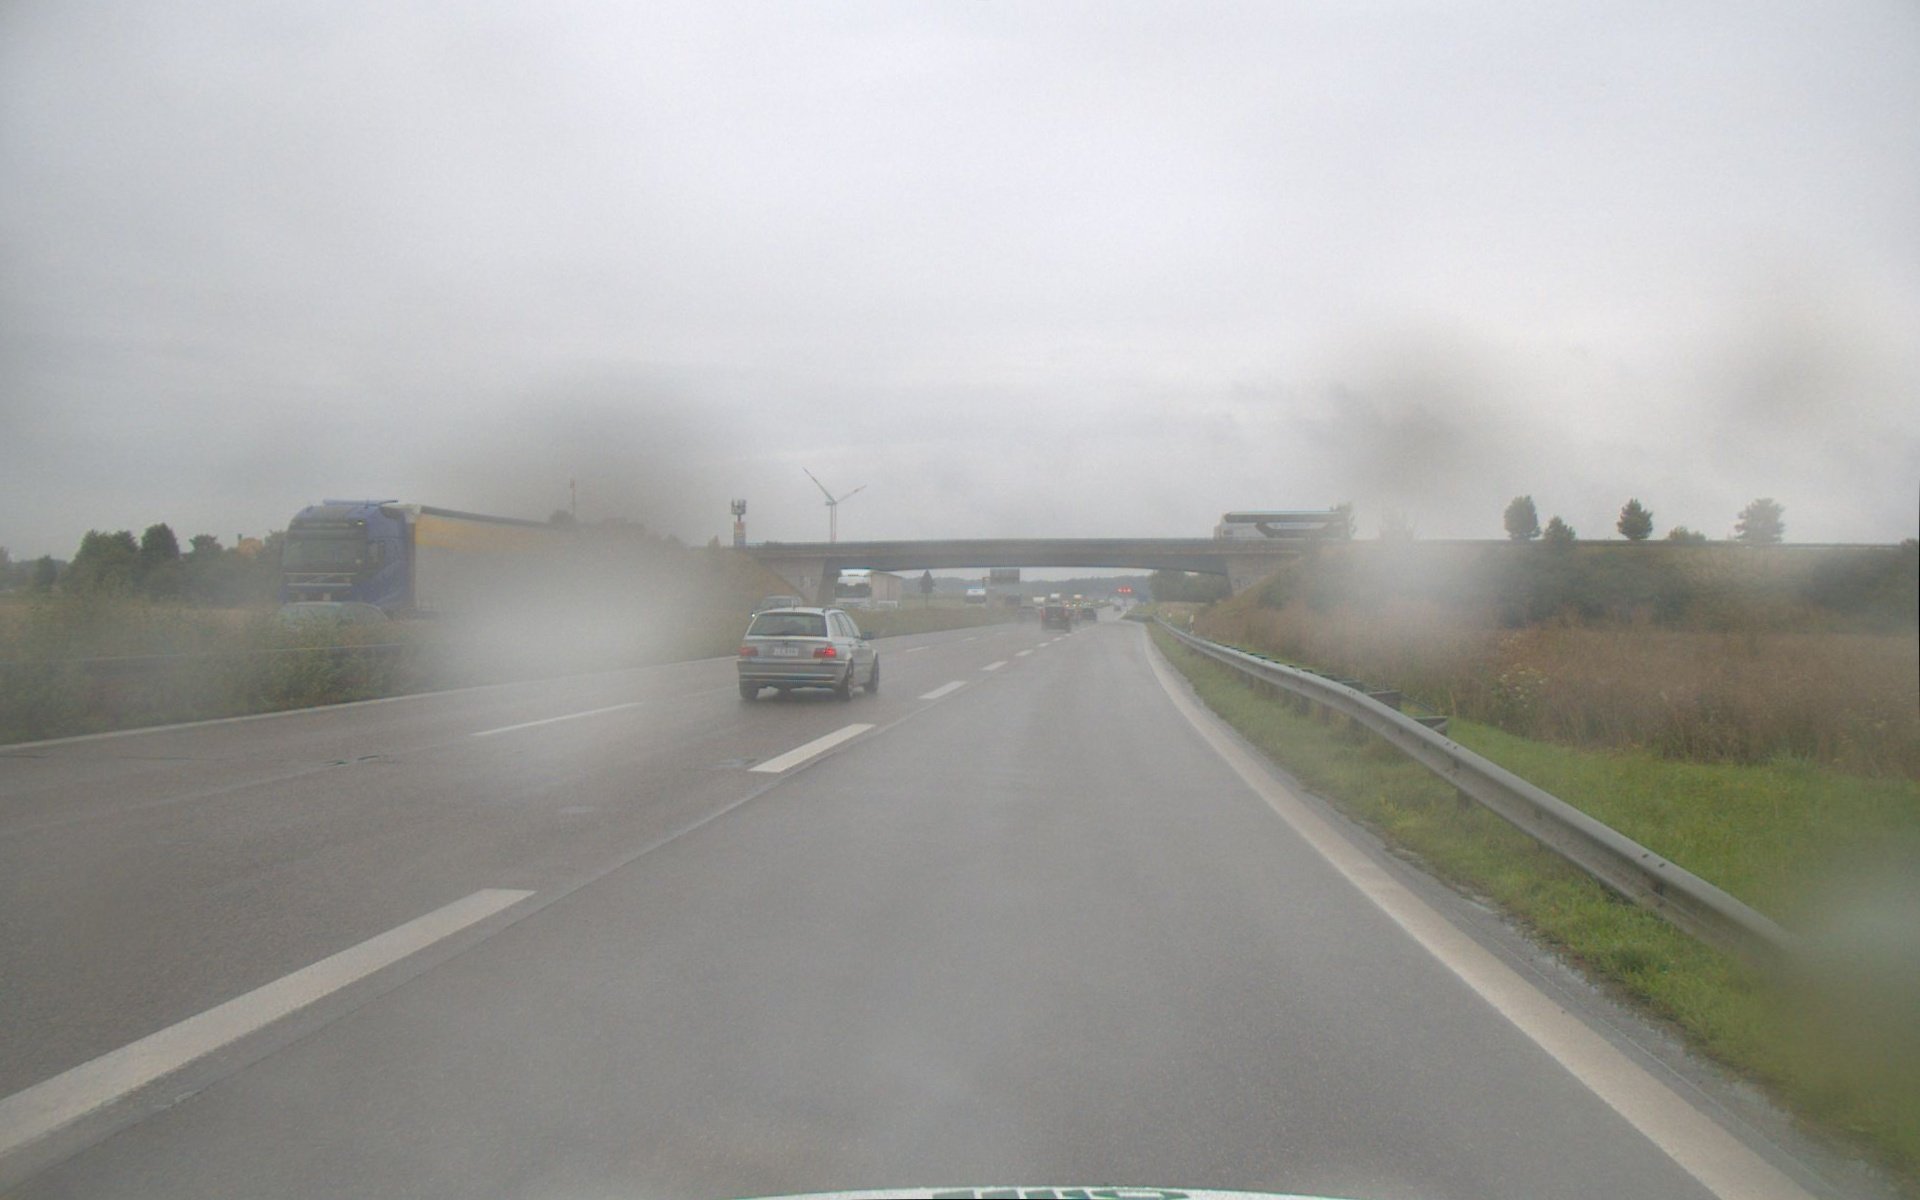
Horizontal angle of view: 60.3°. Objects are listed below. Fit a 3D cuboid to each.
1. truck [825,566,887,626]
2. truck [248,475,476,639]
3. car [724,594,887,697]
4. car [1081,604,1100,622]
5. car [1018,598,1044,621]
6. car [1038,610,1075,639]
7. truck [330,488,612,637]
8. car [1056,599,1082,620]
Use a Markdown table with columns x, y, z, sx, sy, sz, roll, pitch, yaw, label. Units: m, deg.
| x | y | z | sx | sy | sz | roll | pitch | yaw | label |
| --- | --- | --- | --- | --- | --- | --- | --- | --- | --- |
| -7.952 | -0.248 | 128.227 | 3.160 | 4.462 | 10.520 | 0 | 0 | 5 | truck |
| -16.177 | -1.076 | 45.333 | 3.127 | 4.035 | 6.667 | 3 | 0 | 6 | truck |
| -2.397 | 0.693 | 26.852 | 1.834 | 1.514 | 4.798 | 0 | -1 | 4 | car |
| 14.272 | 1.404 | 180.711 | 1.951 | 1.727 | 4.003 | -2 | 2 | 5 | car |
| 6.191 | 0.821 | 143.795 | 1.951 | 1.780 | 4.003 | -2 | 2 | 5 | car |
| 5.936 | 1.501 | 101.384 | 2.100 | 1.665 | 4.597 | 1 | -1 | 5 | car |
| -15.327 | -1.025 | 54.001 | 3.127 | 4.035 | 15.327 | 3 | 0 | 6 | truck |
| 9.236 | 0.831 | 139.470 | 2.009 | 1.665 | 4.352 | 1 | -1 | 5 | car |
